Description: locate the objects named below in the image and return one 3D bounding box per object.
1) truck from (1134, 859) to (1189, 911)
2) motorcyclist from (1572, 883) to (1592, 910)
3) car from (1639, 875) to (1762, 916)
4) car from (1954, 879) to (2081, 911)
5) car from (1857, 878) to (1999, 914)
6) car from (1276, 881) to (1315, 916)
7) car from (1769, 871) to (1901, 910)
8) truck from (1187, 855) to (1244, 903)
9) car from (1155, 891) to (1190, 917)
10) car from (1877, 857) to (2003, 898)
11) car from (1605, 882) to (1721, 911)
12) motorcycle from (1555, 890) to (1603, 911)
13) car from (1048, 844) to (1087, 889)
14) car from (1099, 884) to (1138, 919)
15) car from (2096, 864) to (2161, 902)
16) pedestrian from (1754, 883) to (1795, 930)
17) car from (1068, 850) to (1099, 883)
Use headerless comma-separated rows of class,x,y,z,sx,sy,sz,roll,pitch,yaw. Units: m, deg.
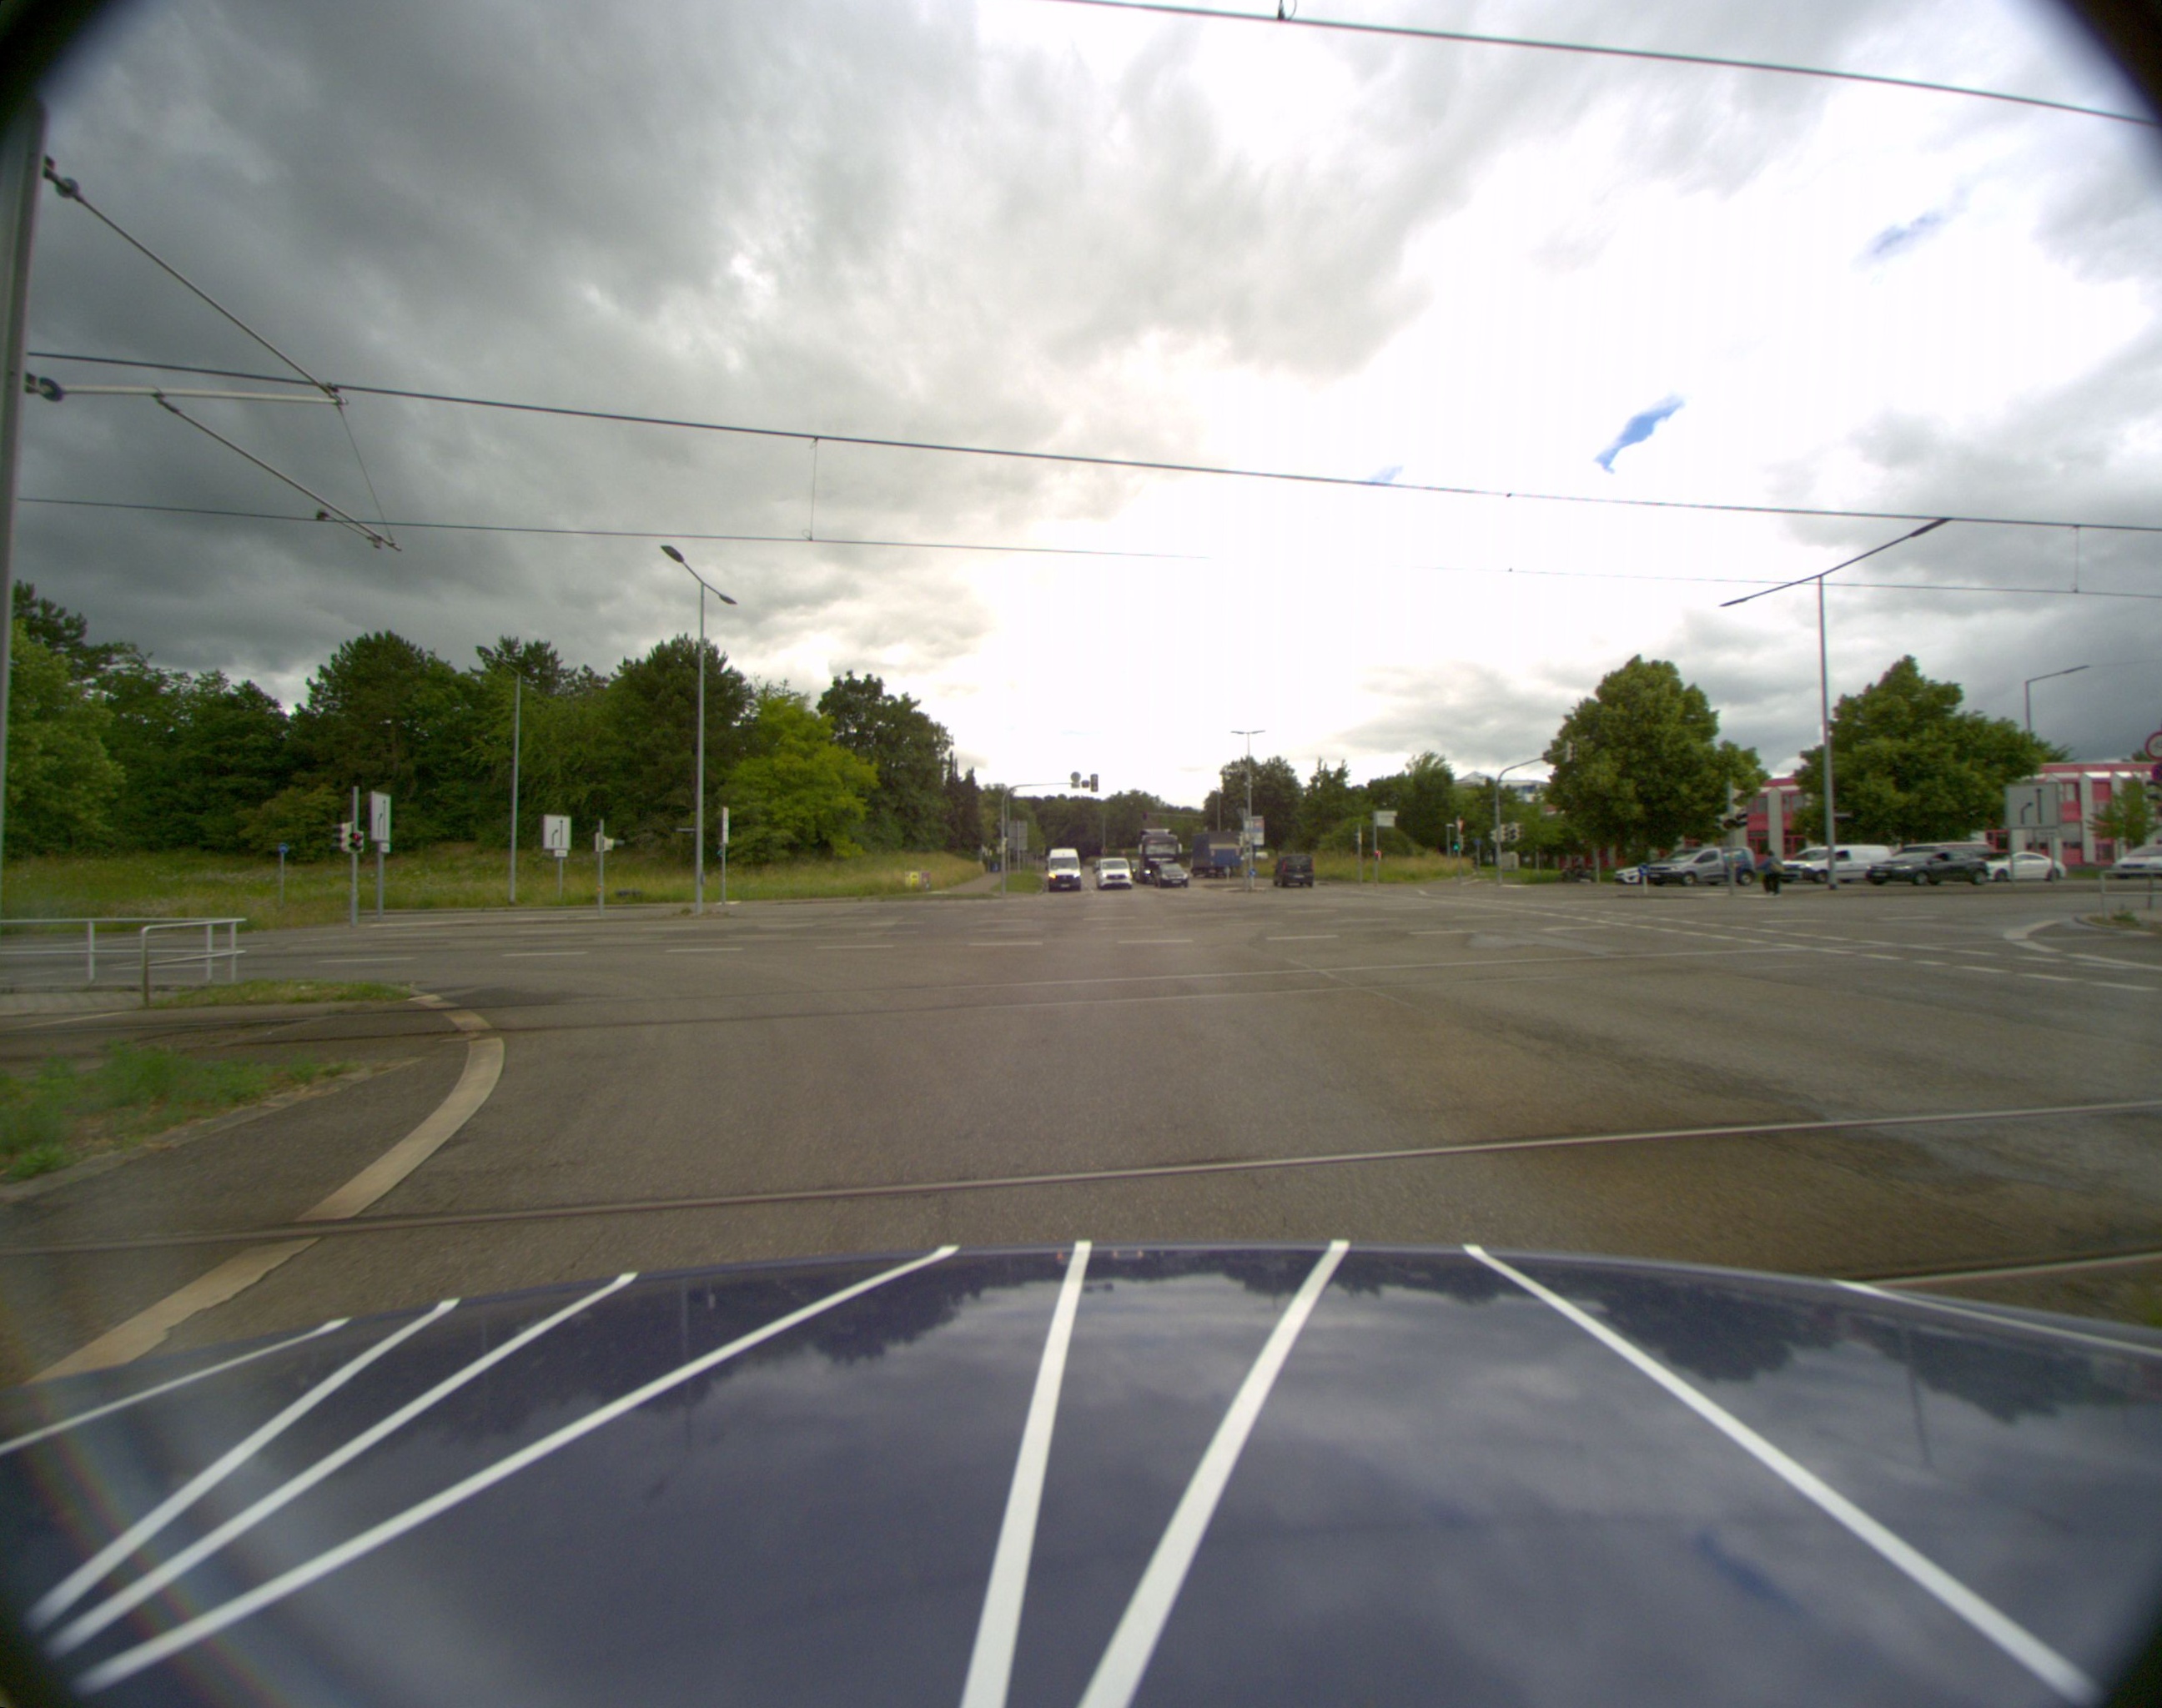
truck,5.758,2.214,55.453,3.073,3.496,5.960,-2,-1,-3
motorcyclist,26.811,2.267,40.665,0.815,1.412,0.761,-1,-2,30
car,28.496,1.893,35.032,4.220,1.769,1.814,-1,-1,-3
car,44.797,1.943,36.378,4.222,1.332,1.814,3,-1,-6
car,36.260,1.783,32.596,4.220,1.332,1.814,3,-1,-4
car,12.472,2.543,44.127,1.996,1.865,4.898,-1,-1,16
car,35.779,1.729,36.137,4.695,1.781,1.814,1,-1,-4
truck,11.277,2.060,64.514,2.786,3.781,8.388,-1,-1,-3
car,5.650,3.081,47.307,1.635,1.433,3.866,-1,-1,-1
car,45.032,1.233,39.885,4.453,1.894,2.184,3,-1,-6
car,30.517,2.249,39.963,4.508,1.411,1.838,-1,-3,6
motorcycle,26.680,2.492,40.753,2.064,1.083,0.761,-1,-2,30
car,-0.944,0.807,48.460,2.227,2.642,5.960,-2,-1,-3
car,2.324,2.977,48.465,2.119,1.978,4.988,-2,-1,-1
car,57.857,1.511,40.403,5.234,1.894,1.952,-1,-1,-1
pedestrian,22.833,1.722,25.024,0.670,1.521,0.716,-1,-1,0
car,0.117,1.010,59.448,2.227,2.371,5.961,-2,-1,-1
